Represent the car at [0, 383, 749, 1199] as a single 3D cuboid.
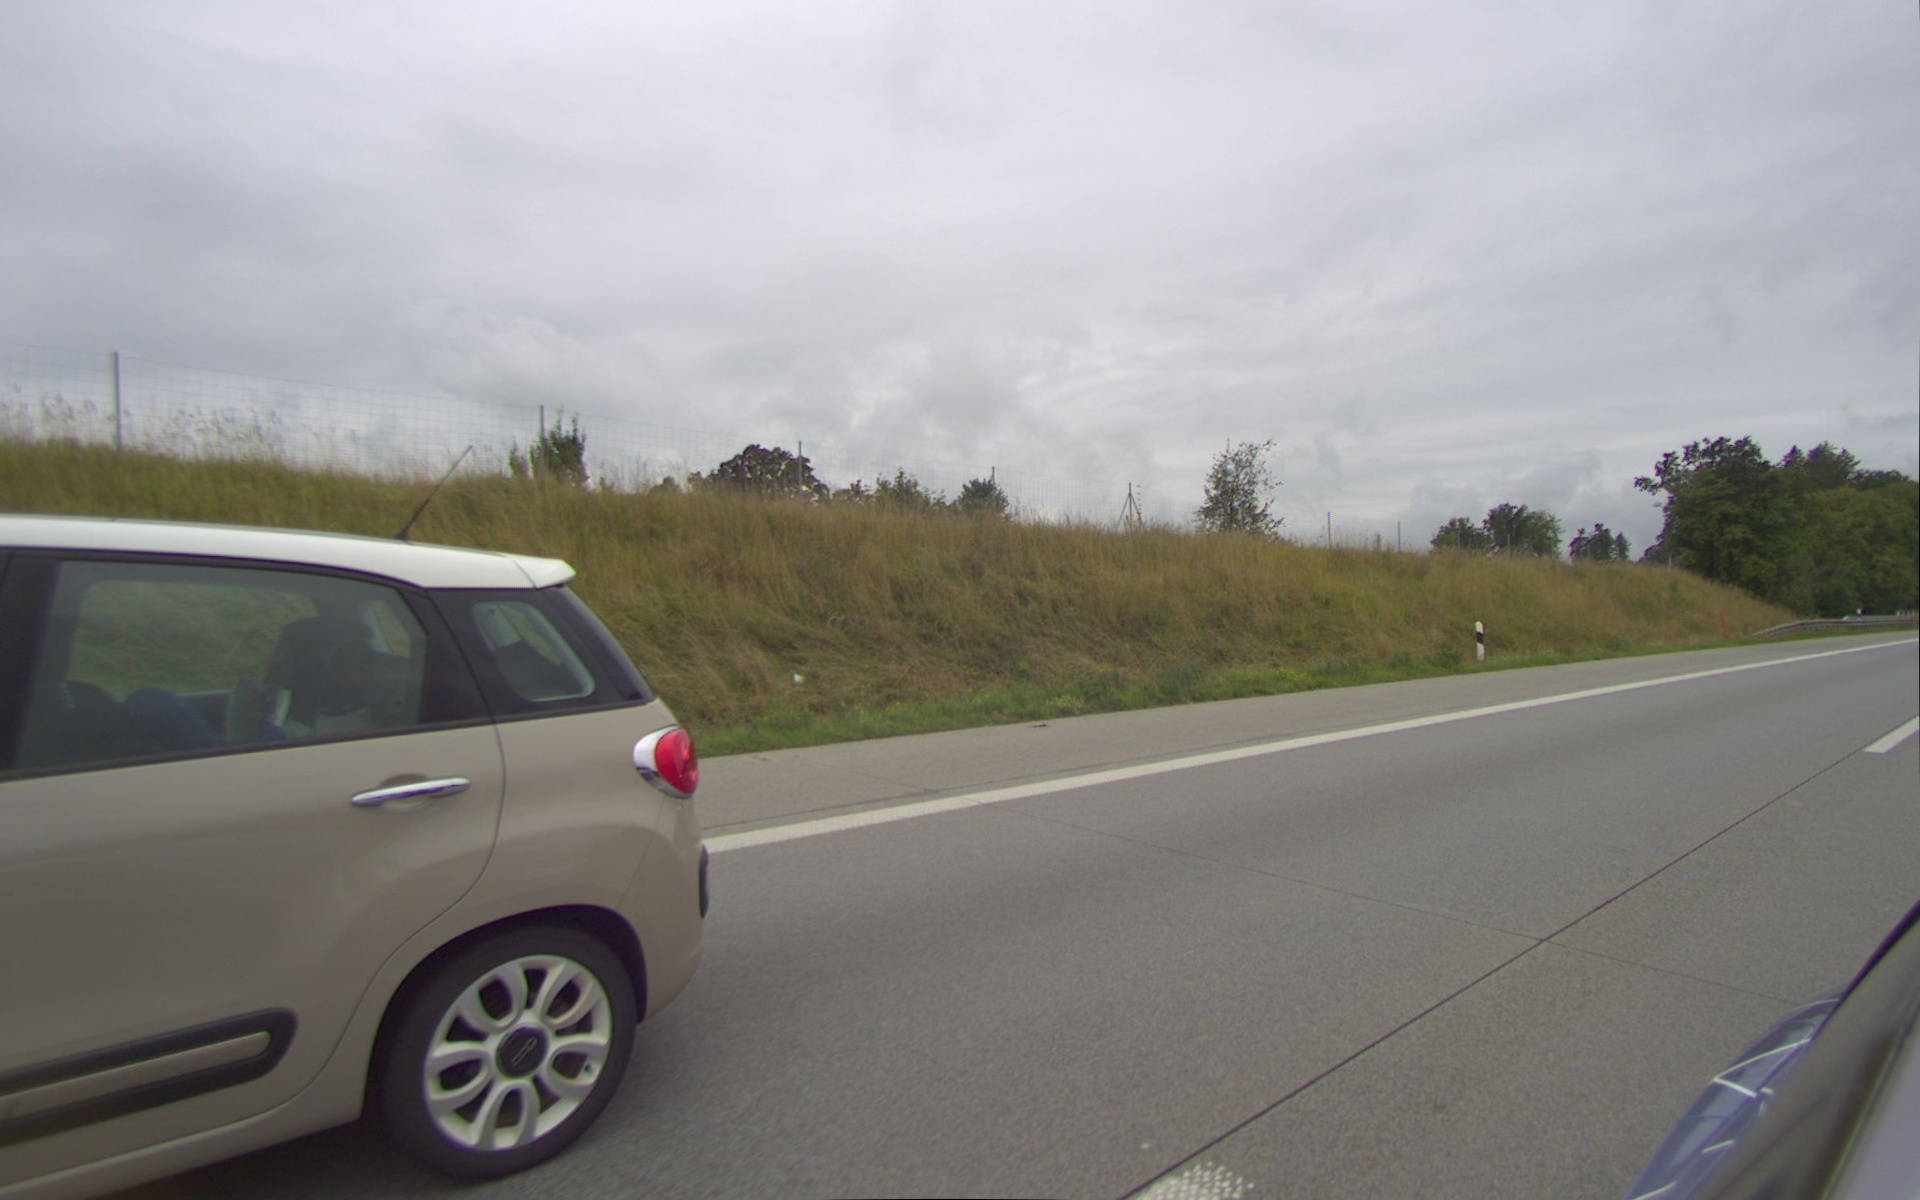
[{"bbox_3d":[-2.887,0.398,2.155,4.491,1.625,1.788,0,0,-41],"label":"car"}]
